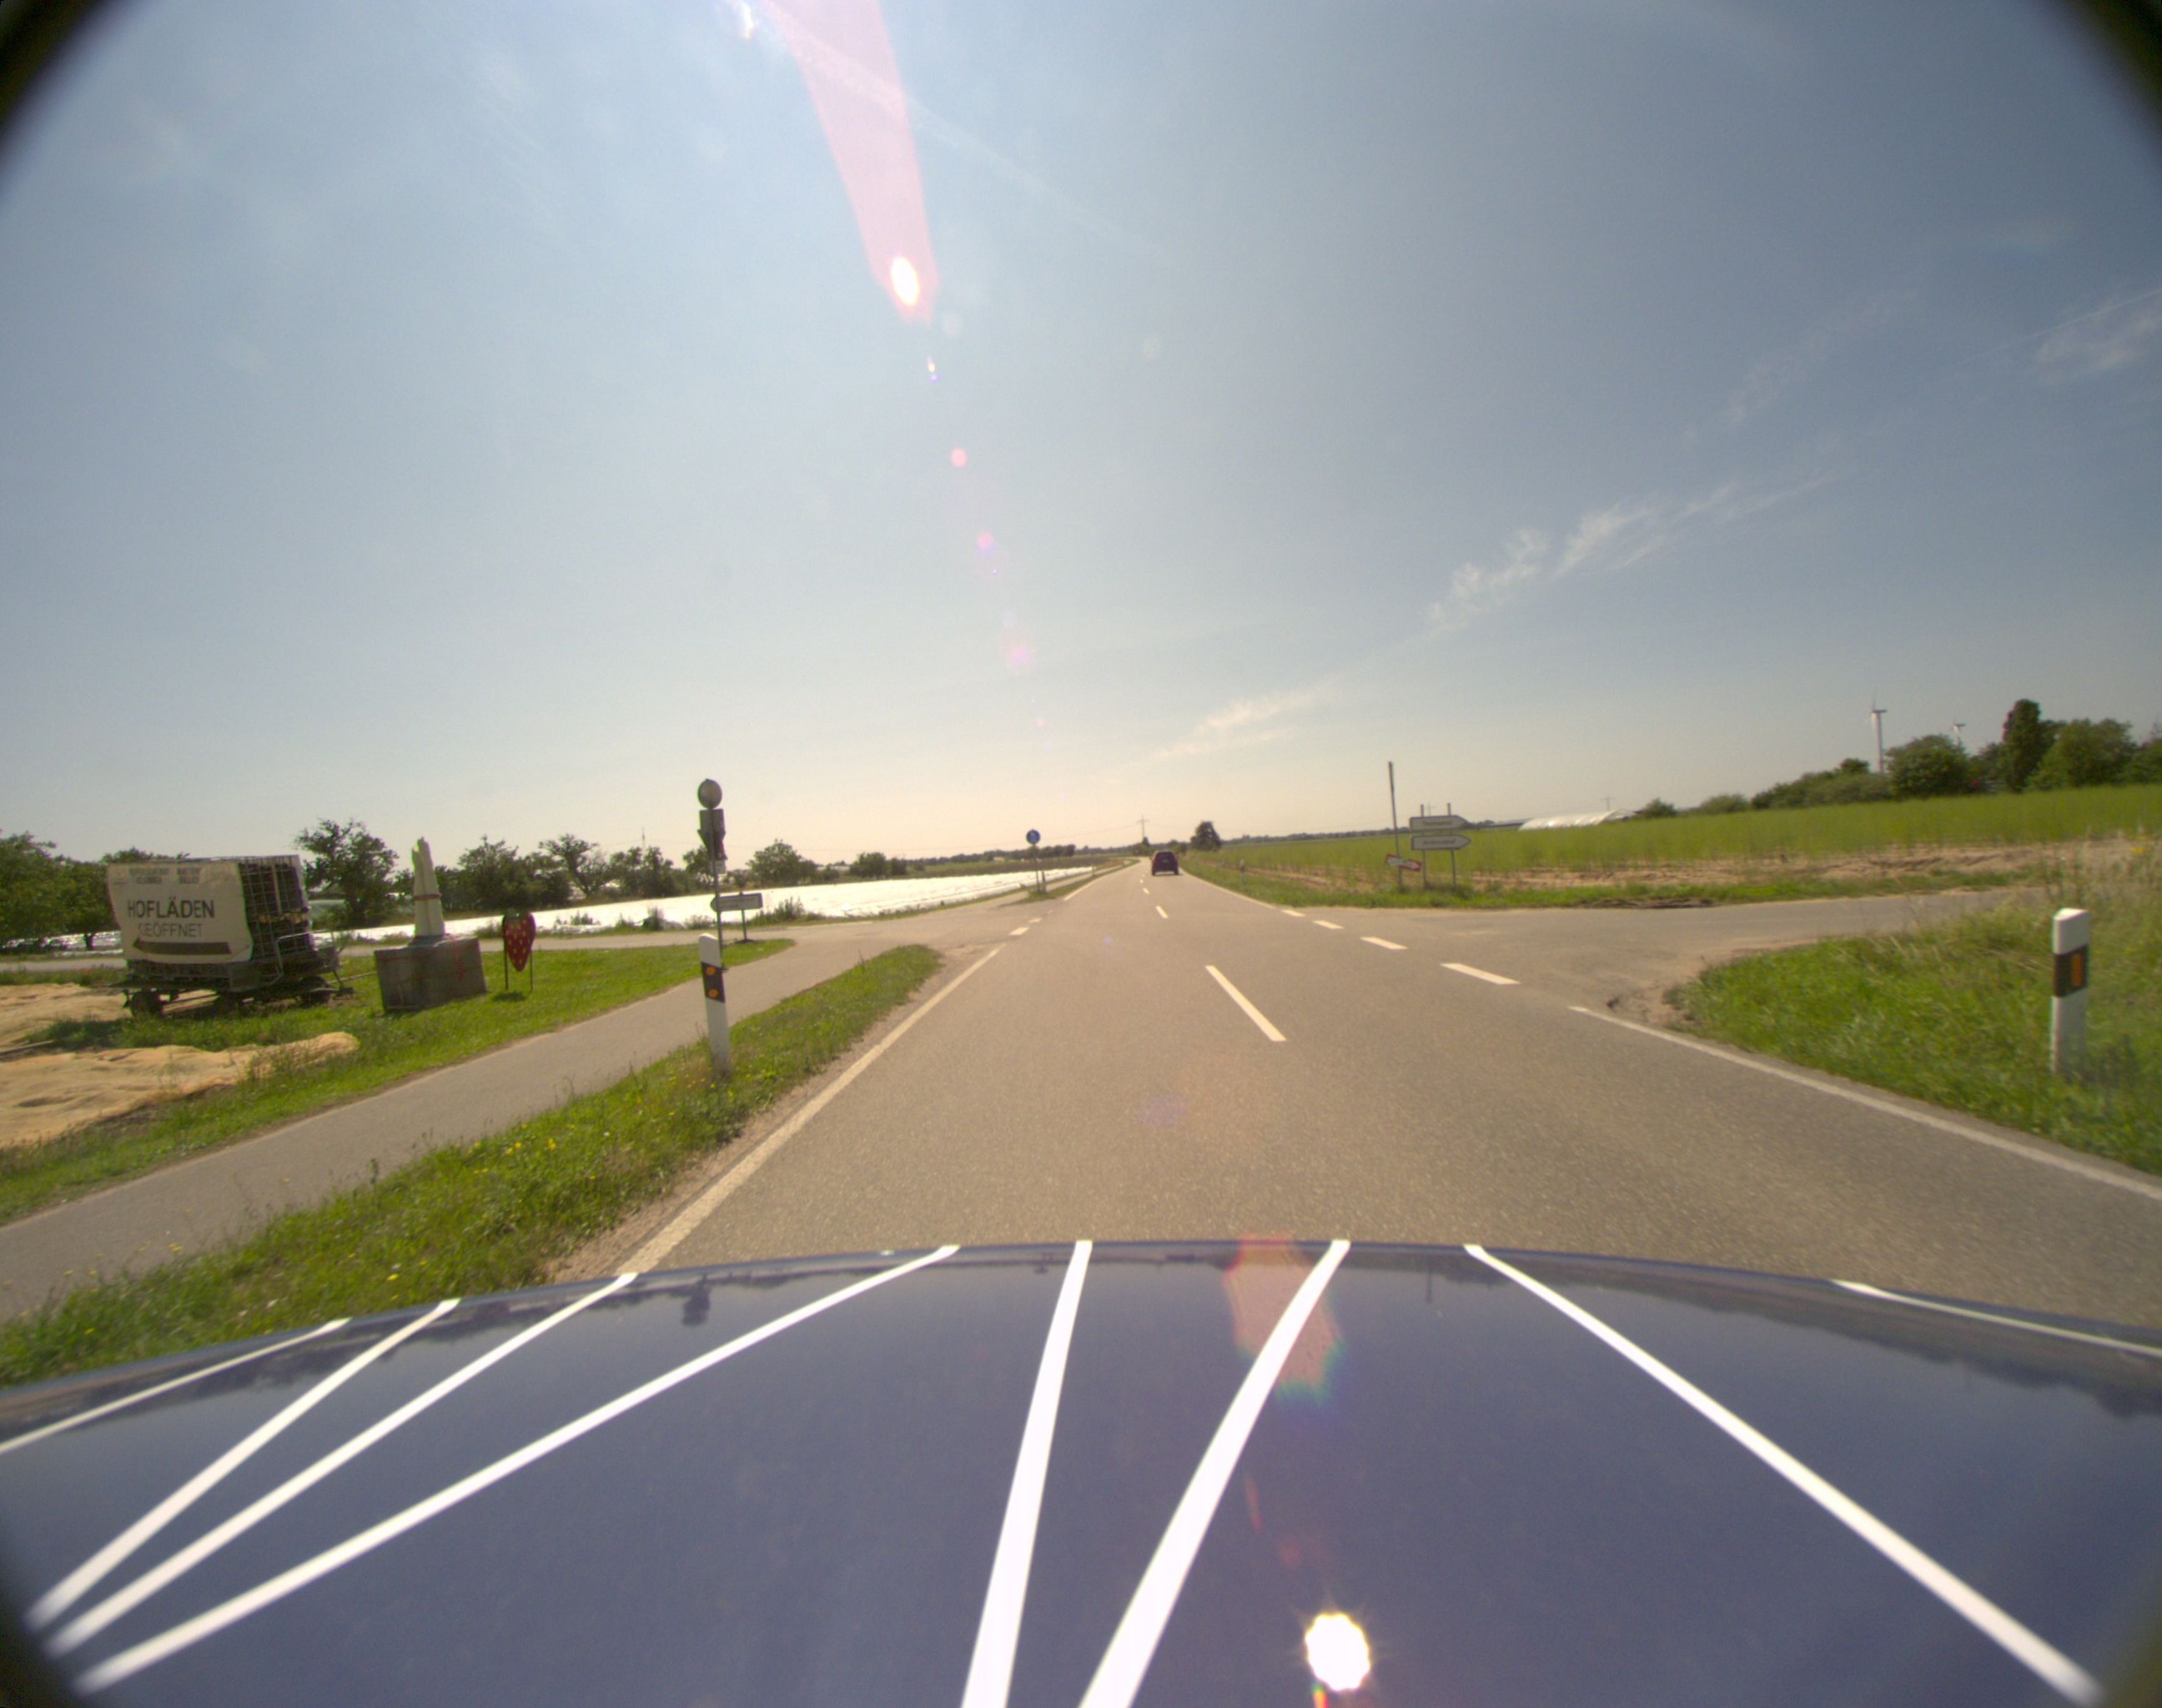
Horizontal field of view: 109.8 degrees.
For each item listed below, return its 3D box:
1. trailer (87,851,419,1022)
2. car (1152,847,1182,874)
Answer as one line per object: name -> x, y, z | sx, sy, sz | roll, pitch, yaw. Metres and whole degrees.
trailer -> -16.240, 1.587, 14.966 | 5.286, 2.936, 2.001 | -3, 2, 15
car -> 6.171, 0.427, 54.825 | 1.937, 1.741, 5.206 | -2, 0, 6
